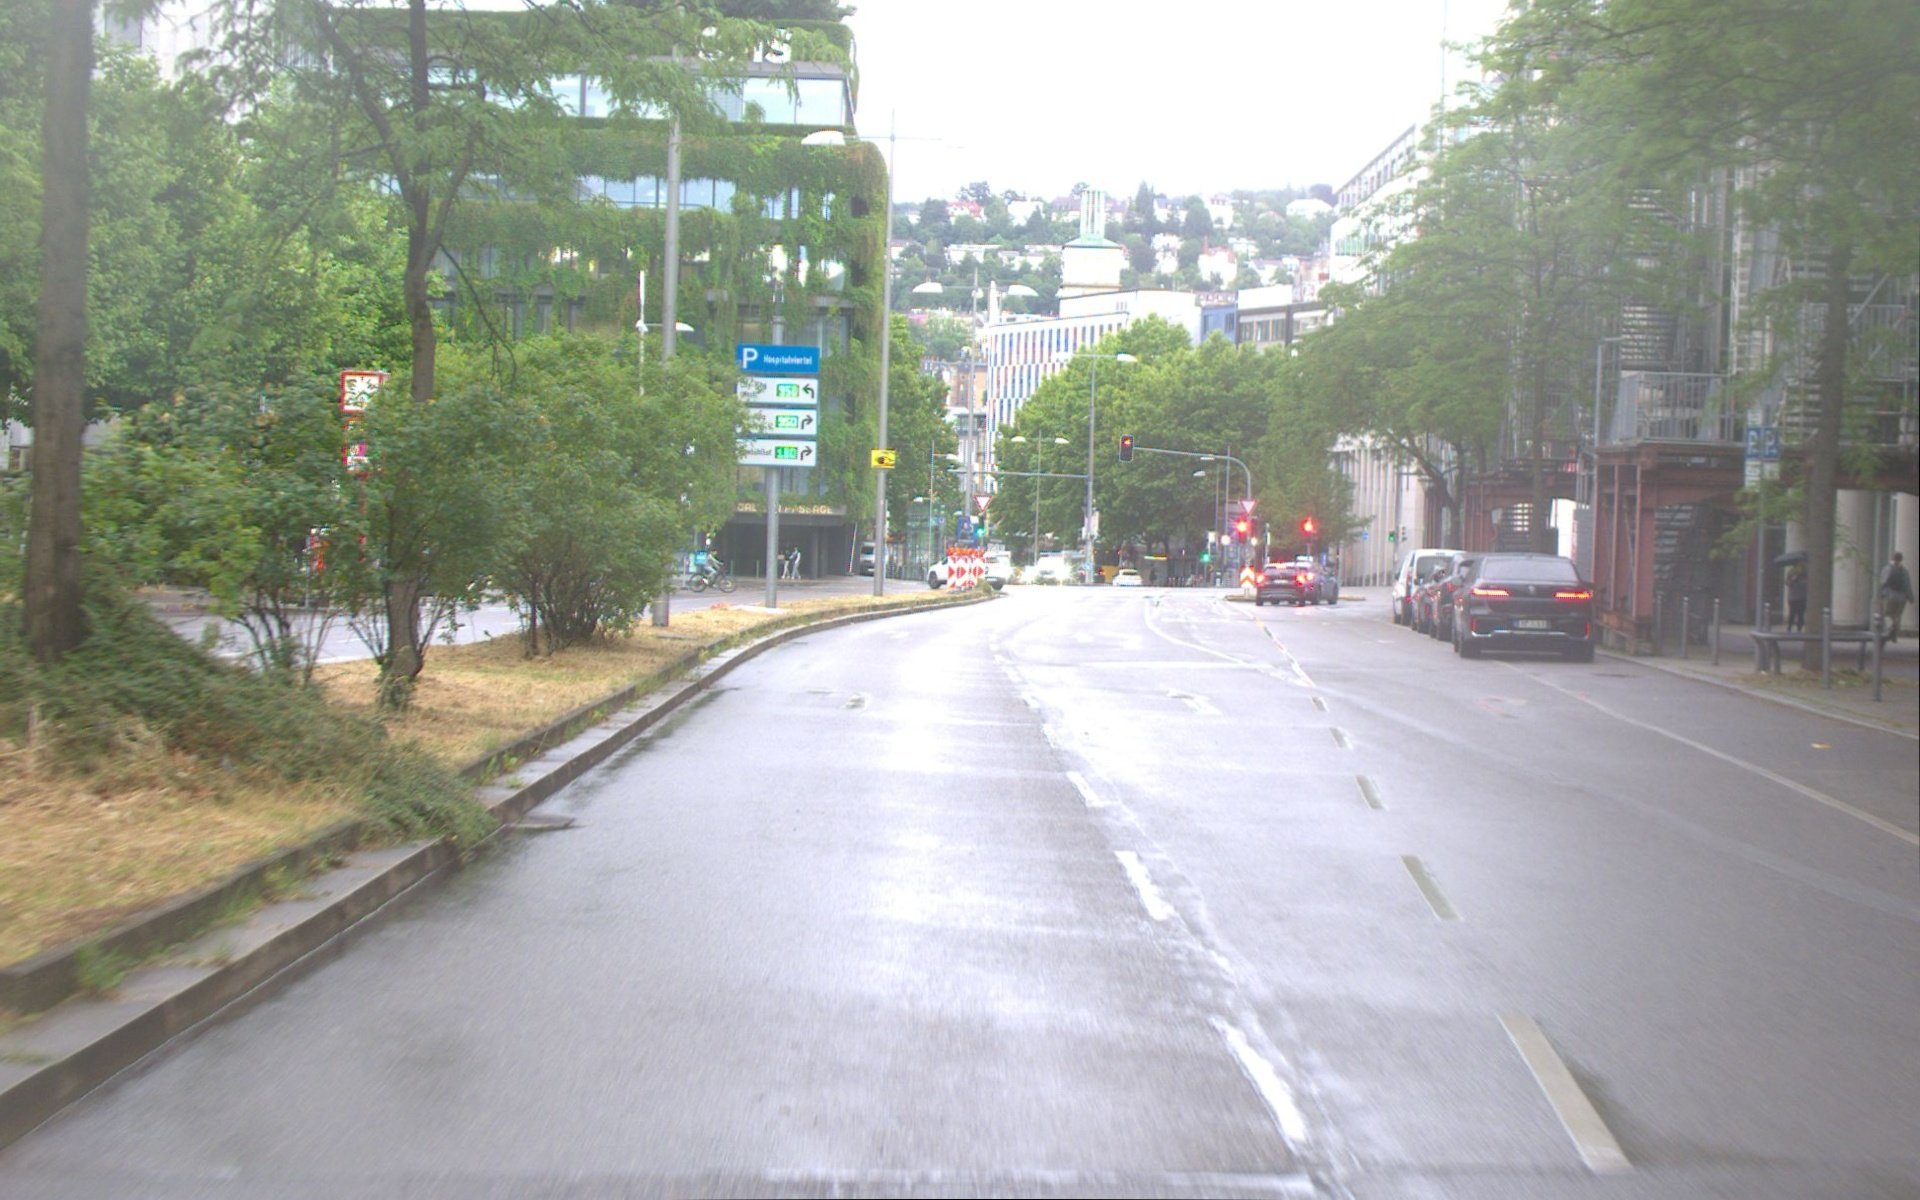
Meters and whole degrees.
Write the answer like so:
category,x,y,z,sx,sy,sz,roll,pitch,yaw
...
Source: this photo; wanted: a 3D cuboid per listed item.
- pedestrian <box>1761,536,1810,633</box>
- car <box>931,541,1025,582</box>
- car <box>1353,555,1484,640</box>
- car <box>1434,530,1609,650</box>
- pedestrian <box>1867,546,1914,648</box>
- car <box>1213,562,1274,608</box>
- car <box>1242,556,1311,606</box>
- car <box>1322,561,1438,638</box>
category,x,y,z,sx,sy,sz,roll,pitch,yaw
pedestrian,16.452,-0.304,68.536,0.775,1.914,0.702,1,0,-1
car,0.764,-1.707,150.891,1.829,1.634,4.300,2,0,-37
car,8.349,-0.069,62.926,1.844,1.487,4.000,1,1,0
car,8.298,-0.166,51.127,2.339,1.685,3.999,1,1,7
pedestrian,17.652,-0.063,65.214,0.775,1.914,0.702,1,-1,10
car,11.082,-0.581,134.510,1.993,1.730,4.000,1,0,0
car,11.331,-0.678,123.359,1.993,1.718,4.000,1,0,-1
car,8.465,-0.030,69.623,1.844,1.487,4.000,1,1,0
